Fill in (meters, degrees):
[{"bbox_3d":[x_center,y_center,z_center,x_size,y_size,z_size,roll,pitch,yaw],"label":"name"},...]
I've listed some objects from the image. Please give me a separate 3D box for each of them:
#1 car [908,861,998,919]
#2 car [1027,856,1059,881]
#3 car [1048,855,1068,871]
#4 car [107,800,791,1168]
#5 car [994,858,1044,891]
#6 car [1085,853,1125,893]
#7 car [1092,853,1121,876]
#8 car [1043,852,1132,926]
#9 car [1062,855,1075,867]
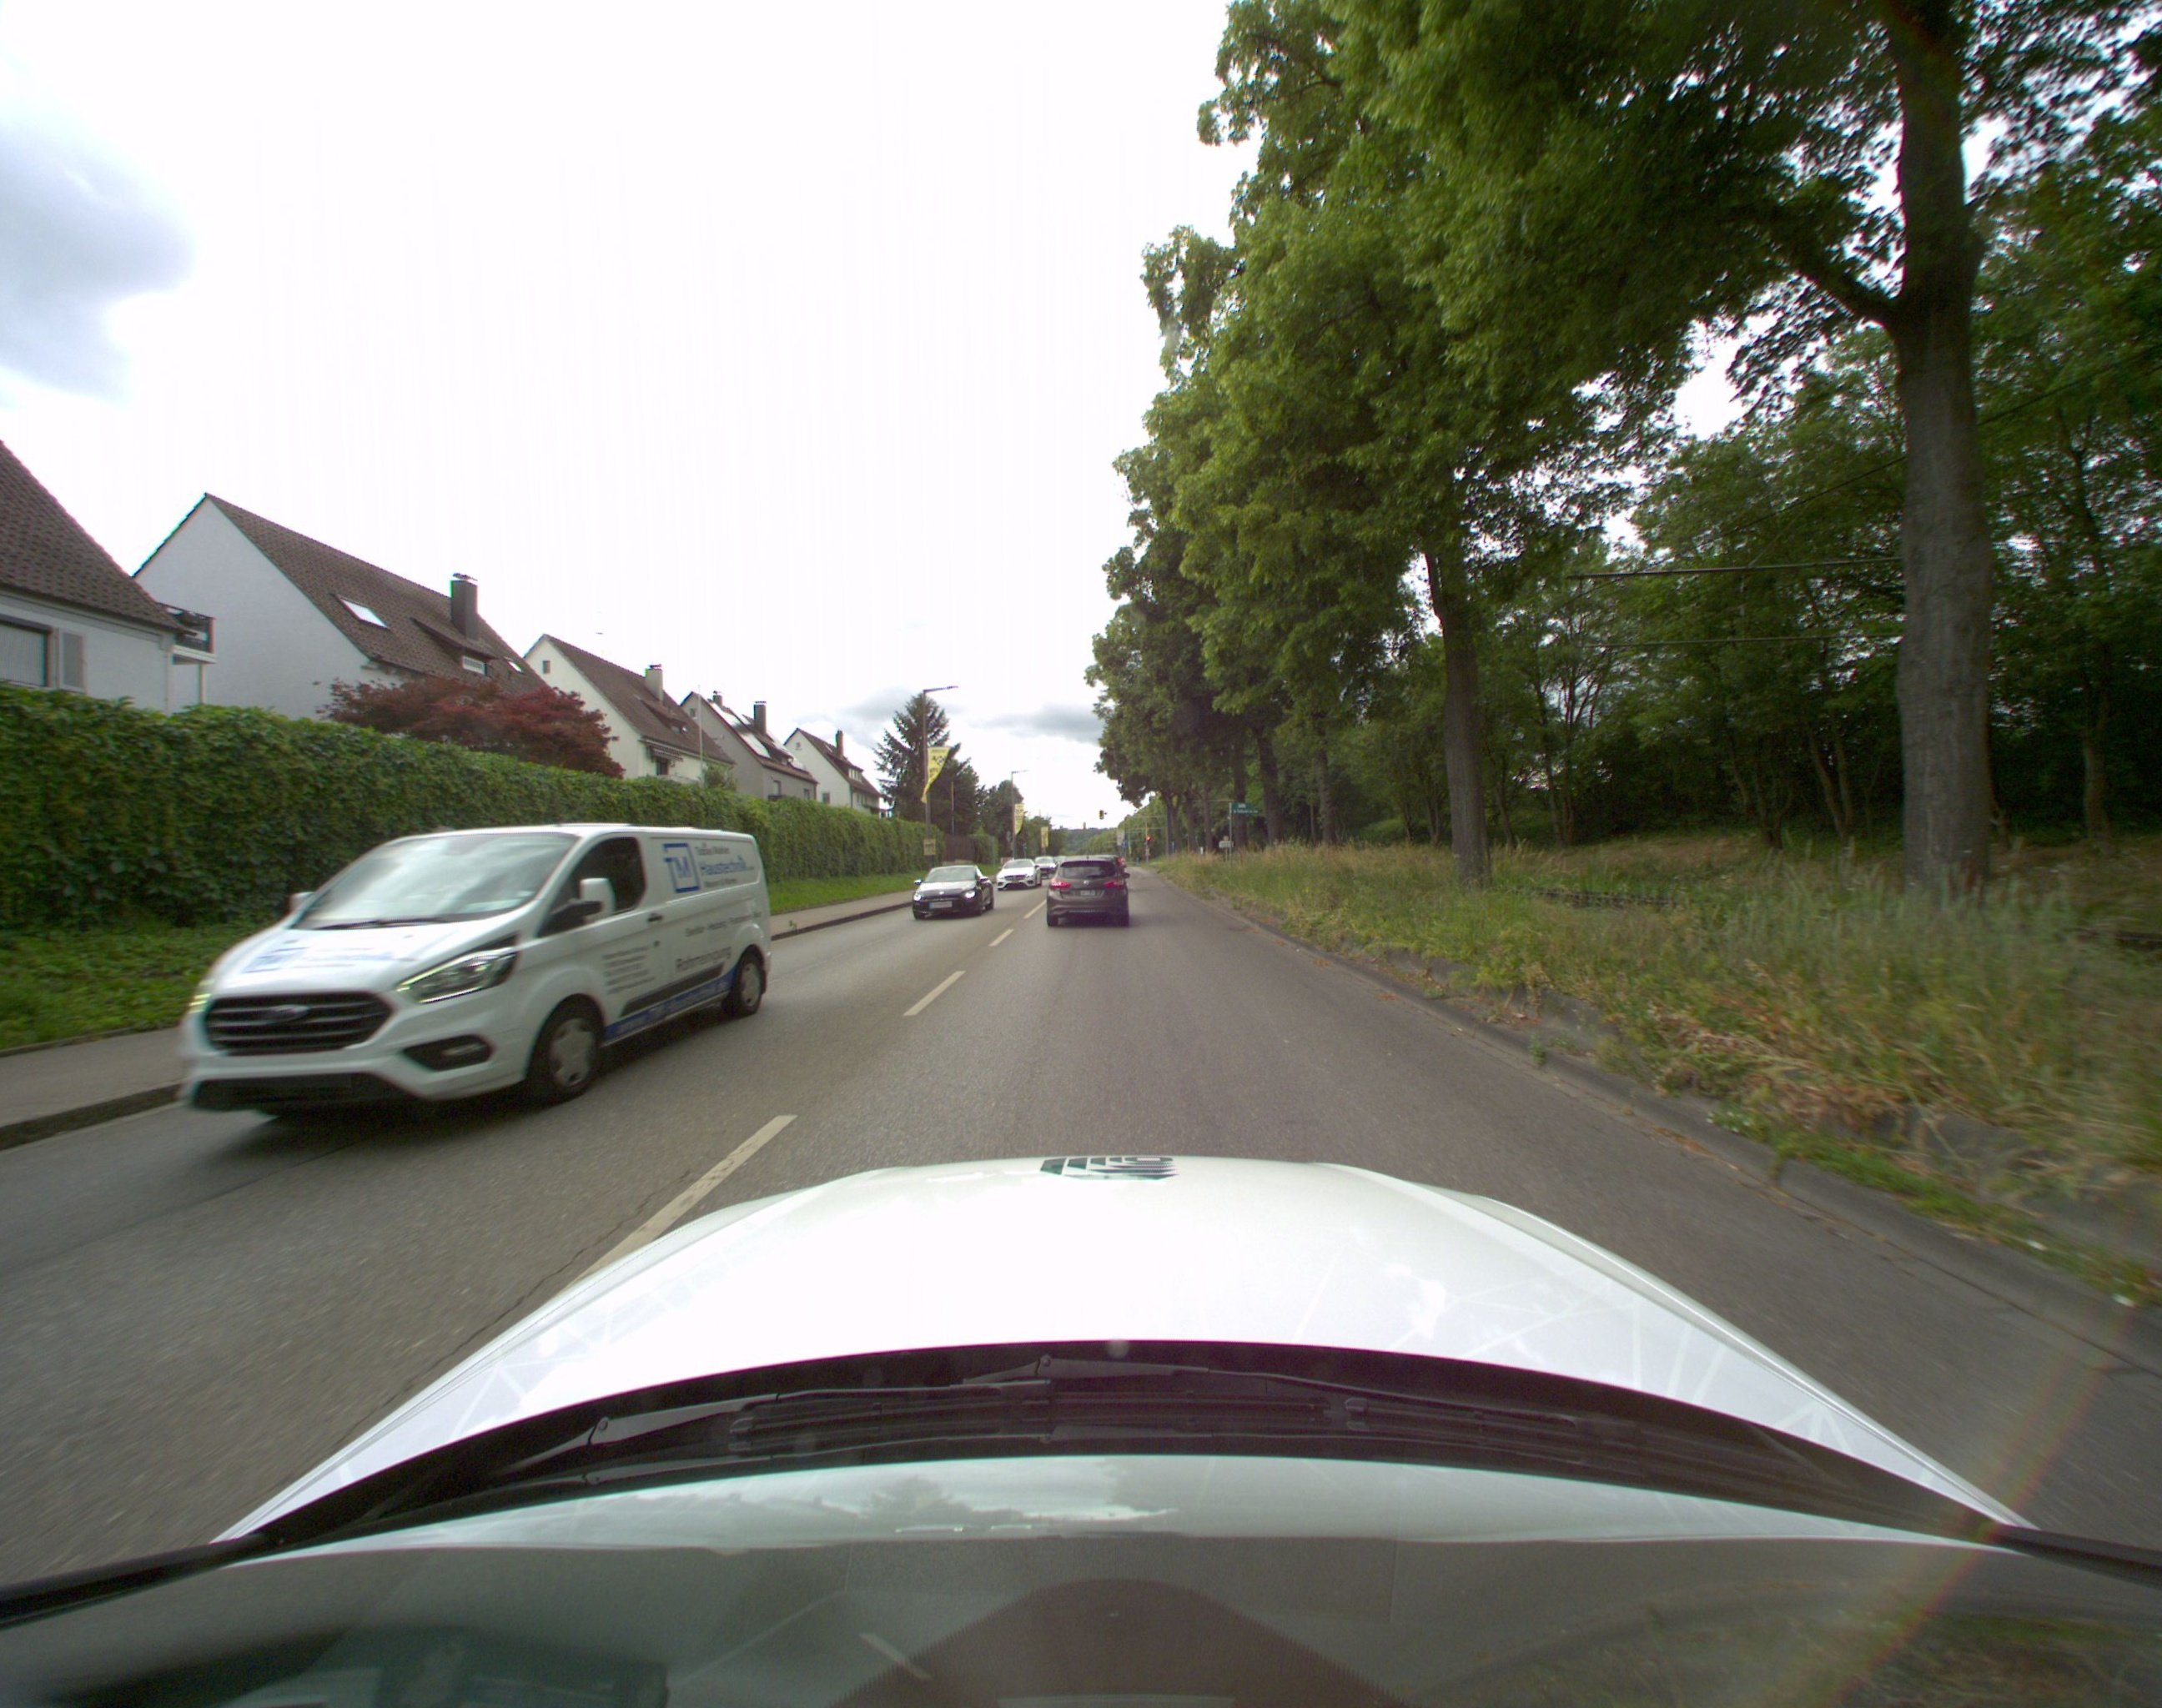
[{"bbox_3d":[-3.486,0.943,22.988,1.645,1.348,4.479,-3,0,1],"label":"car"},{"bbox_3d":[-2.603,0.957,56.591,1.745,1.518,4.002,-4,0,2],"label":"car"},{"bbox_3d":[-2.237,0.862,81.505,1.722,1.464,4.154,-3,0,1],"label":"car"},{"bbox_3d":[-4.368,0.724,6.954,1.900,1.932,4.910,-3,0,0],"label":"car"},{"bbox_3d":[-2.975,0.943,39.918,1.879,1.383,4.492,-3,0,2],"label":"car"},{"bbox_3d":[1.012,0.752,33.930,1.533,1.478,3.765,-3,0,2],"label":"car"},{"bbox_3d":[1.708,0.693,53.757,1.785,1.397,4.002,-2,0,2],"label":"car"},{"bbox_3d":[0.199,0.724,19.081,1.828,1.519,4.484,0,0,2],"label":"car"},{"bbox_3d":[-1.792,1.018,120.504,1.807,1.524,4.176,-4,0,0],"label":"car"}]
